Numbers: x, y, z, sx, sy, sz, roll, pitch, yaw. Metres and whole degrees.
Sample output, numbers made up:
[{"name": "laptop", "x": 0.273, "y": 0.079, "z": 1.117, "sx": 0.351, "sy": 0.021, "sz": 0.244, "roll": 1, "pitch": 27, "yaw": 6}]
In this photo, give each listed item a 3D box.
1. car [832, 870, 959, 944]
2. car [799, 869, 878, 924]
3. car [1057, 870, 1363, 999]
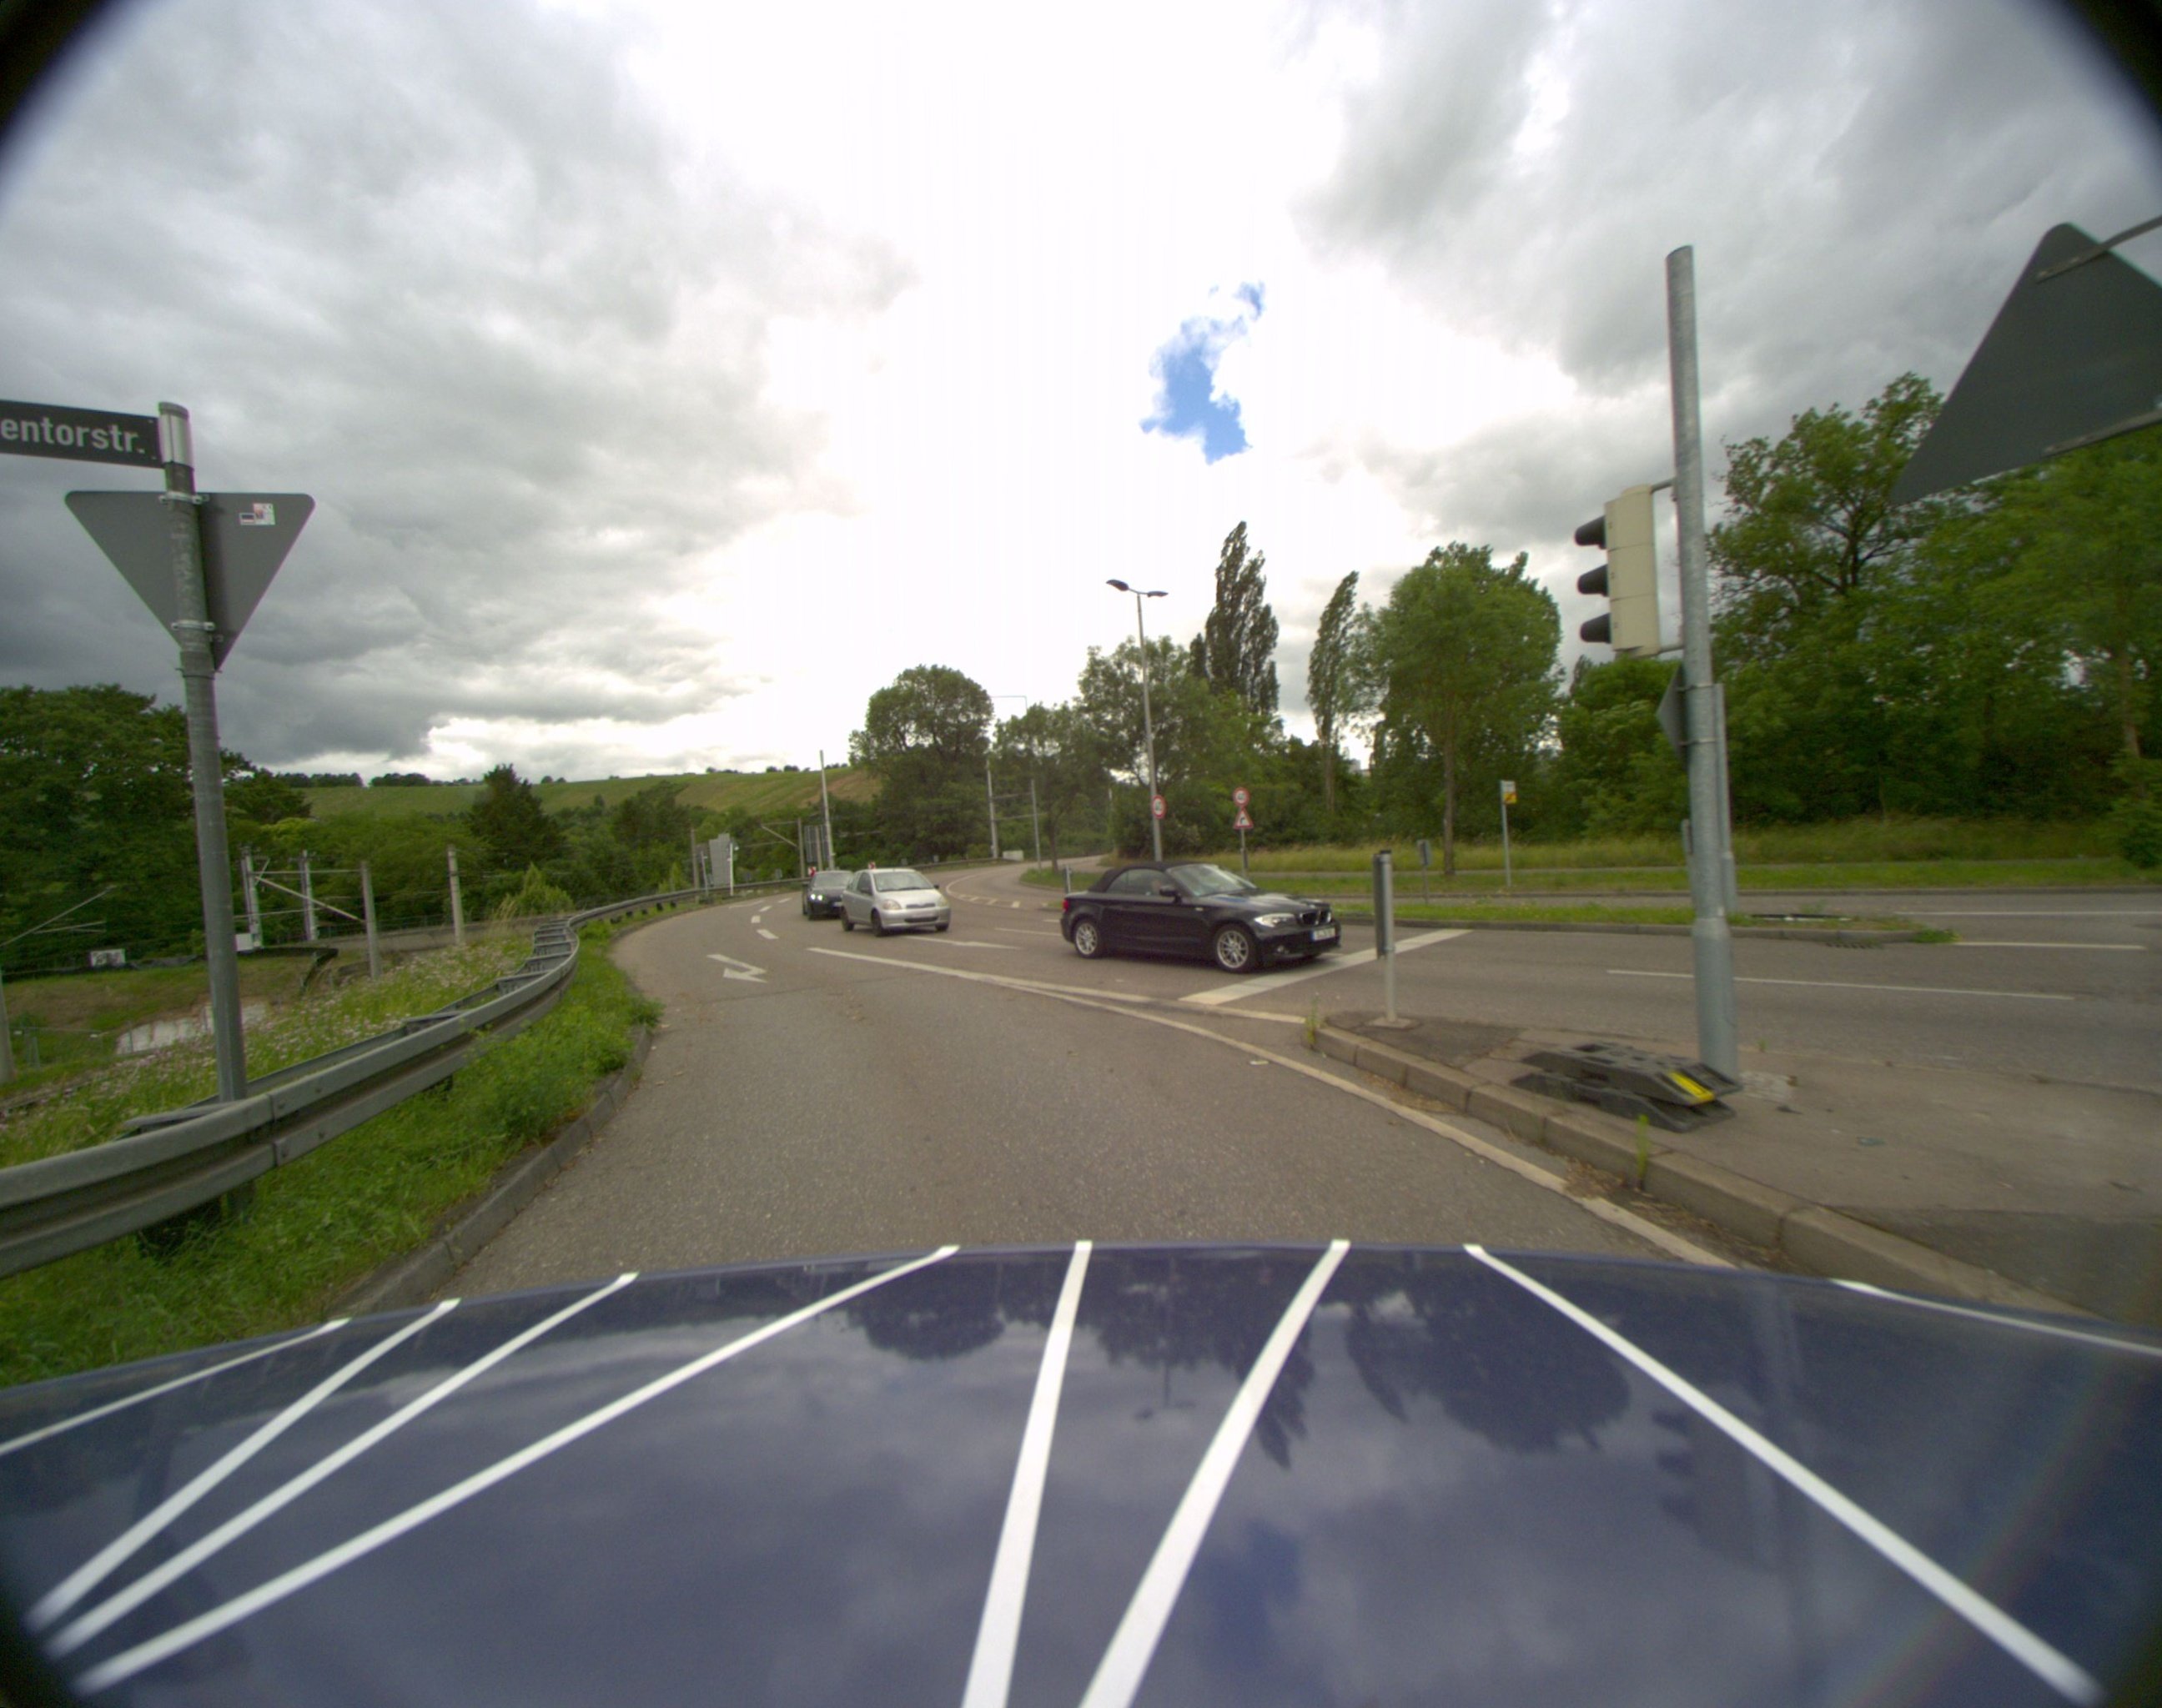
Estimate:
[{"name": "car", "x": -4.432, "y": 1.148, "z": 17.846, "sx": 1.676, "sy": 1.461, "sz": 3.619, "roll": -3, "pitch": 1, "yaw": -34}, {"name": "car", "x": -7.939, "y": 1.278, "z": 24.556, "sx": 1.881, "sy": 1.468, "sz": 4.954, "roll": -2, "pitch": 0, "yaw": -23}, {"name": "car", "x": 1.573, "y": 0.976, "z": 10.526, "sx": 1.571, "sy": 1.360, "sz": 4.073, "roll": -3, "pitch": 0, "yaw": -40}]
